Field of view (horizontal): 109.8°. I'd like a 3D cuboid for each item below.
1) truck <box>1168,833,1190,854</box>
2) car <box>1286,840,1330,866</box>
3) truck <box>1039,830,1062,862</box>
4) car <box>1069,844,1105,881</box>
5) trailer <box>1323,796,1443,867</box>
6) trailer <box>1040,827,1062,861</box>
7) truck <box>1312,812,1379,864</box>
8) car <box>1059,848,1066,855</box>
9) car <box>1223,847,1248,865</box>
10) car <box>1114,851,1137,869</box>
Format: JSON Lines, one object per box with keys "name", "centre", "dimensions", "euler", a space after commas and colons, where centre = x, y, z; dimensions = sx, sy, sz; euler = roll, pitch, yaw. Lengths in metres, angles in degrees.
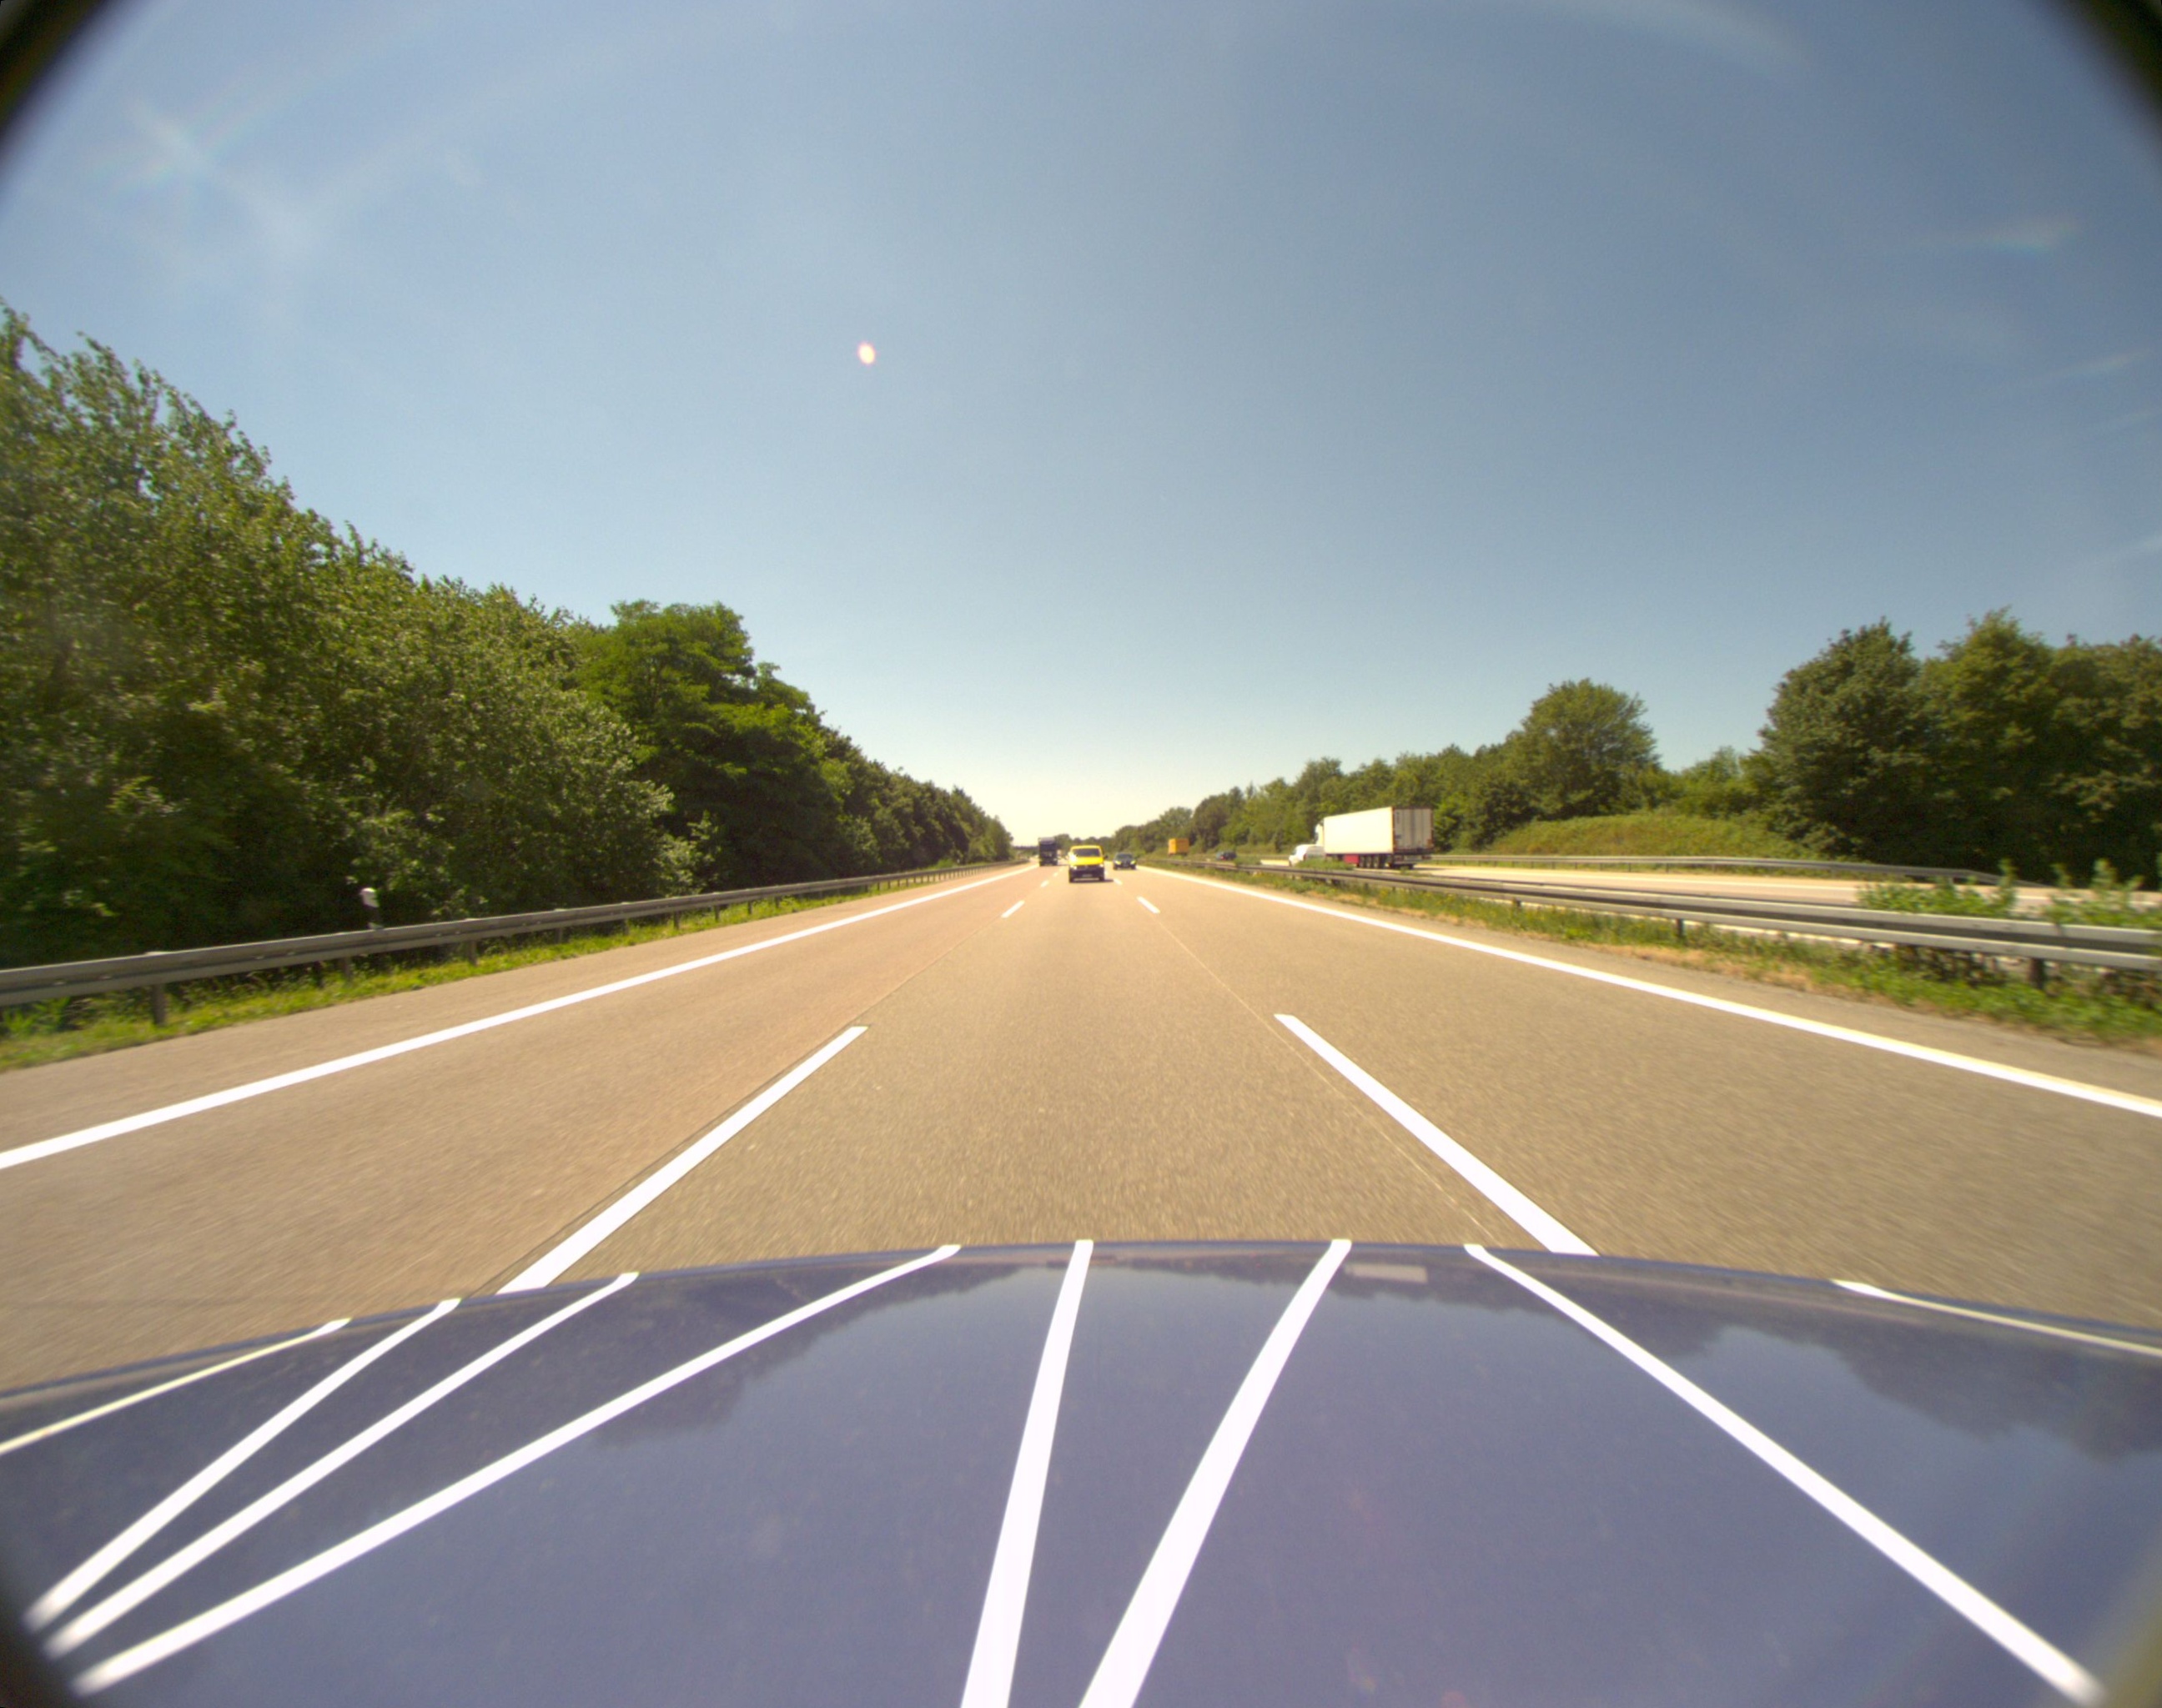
{"name": "truck", "centre": [19.011, -2.054, 147.686], "dimensions": [2.757, 4.017, 10.789], "euler": [-2, 1, -1]}
{"name": "car", "centre": [17.025, -0.099, 57.194], "dimensions": [1.820, 1.865, 4.878], "euler": [-2, 0, 0]}
{"name": "truck", "centre": [-4.212, -1.146, 105.164], "dimensions": [2.916, 4.231, 4.974], "euler": [-2, 1, -2]}
{"name": "car", "centre": [0.273, 0.435, 40.810], "dimensions": [1.777, 1.882, 3.831], "euler": [-1, 0, -2]}
{"name": "trailer", "centre": [21.048, -1.430, 54.291], "dimensions": [3.319, 4.336, 13.587], "euler": [-2, 0, 1]}
{"name": "trailer", "centre": [-4.424, -1.366, 112.509], "dimensions": [2.909, 4.630, 13.982], "euler": [-2, 0, -2]}
{"name": "truck", "centre": [21.181, -1.256, 61.287], "dimensions": [3.269, 3.928, 6.100], "euler": [-2, 1, 1]}
{"name": "car", "centre": [-5.892, -0.749, 241.935], "dimensions": [1.999, 2.002, 4.000], "euler": [-1, 0, 0]}
{"name": "car", "centre": [12.815, 0.127, 63.122], "dimensions": [1.377, 1.418, 3.455], "euler": [-2, 0, 0]}
{"name": "car", "centre": [3.850, 0.508, 66.239], "dimensions": [1.726, 1.478, 3.999], "euler": [-2, 0, -1]}
